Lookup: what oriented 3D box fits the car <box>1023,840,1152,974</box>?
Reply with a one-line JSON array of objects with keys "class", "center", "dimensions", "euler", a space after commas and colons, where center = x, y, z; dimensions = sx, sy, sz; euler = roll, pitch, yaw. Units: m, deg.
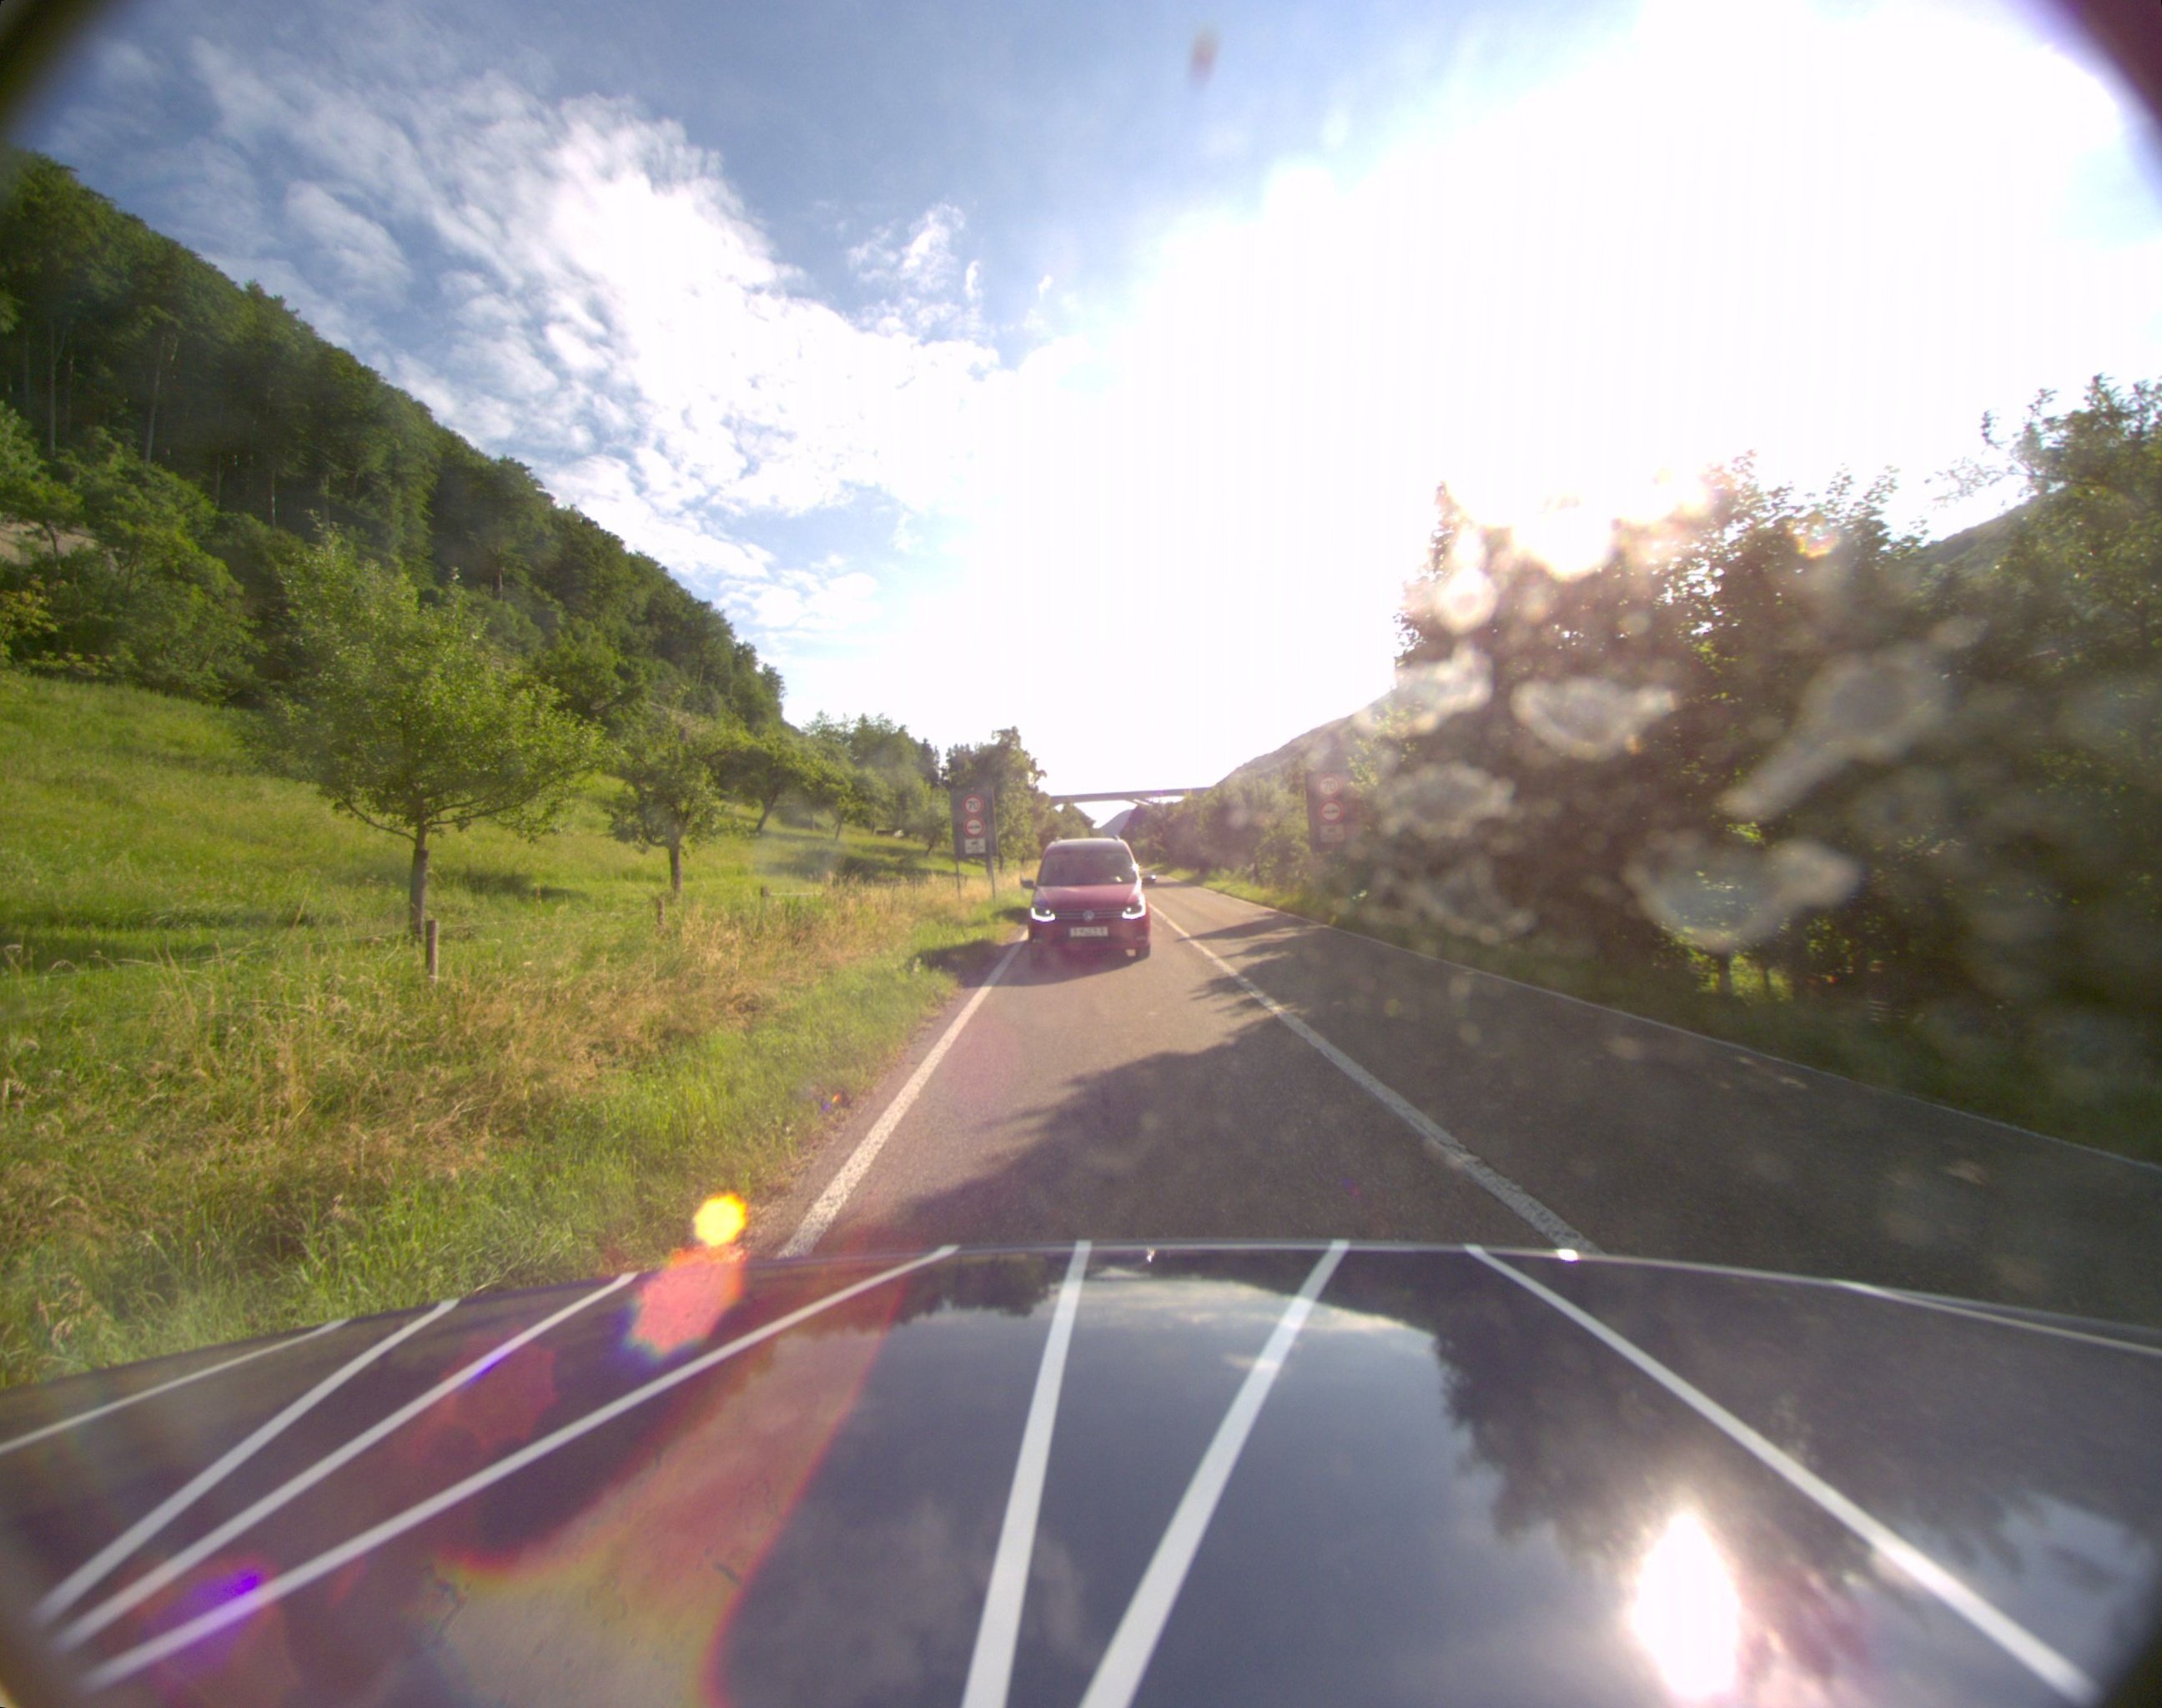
[{"class": "car", "center": [0.096, 0.730, 12.447], "dimensions": [1.741, 1.803, 4.000], "euler": [-1, 0, 0]}]
